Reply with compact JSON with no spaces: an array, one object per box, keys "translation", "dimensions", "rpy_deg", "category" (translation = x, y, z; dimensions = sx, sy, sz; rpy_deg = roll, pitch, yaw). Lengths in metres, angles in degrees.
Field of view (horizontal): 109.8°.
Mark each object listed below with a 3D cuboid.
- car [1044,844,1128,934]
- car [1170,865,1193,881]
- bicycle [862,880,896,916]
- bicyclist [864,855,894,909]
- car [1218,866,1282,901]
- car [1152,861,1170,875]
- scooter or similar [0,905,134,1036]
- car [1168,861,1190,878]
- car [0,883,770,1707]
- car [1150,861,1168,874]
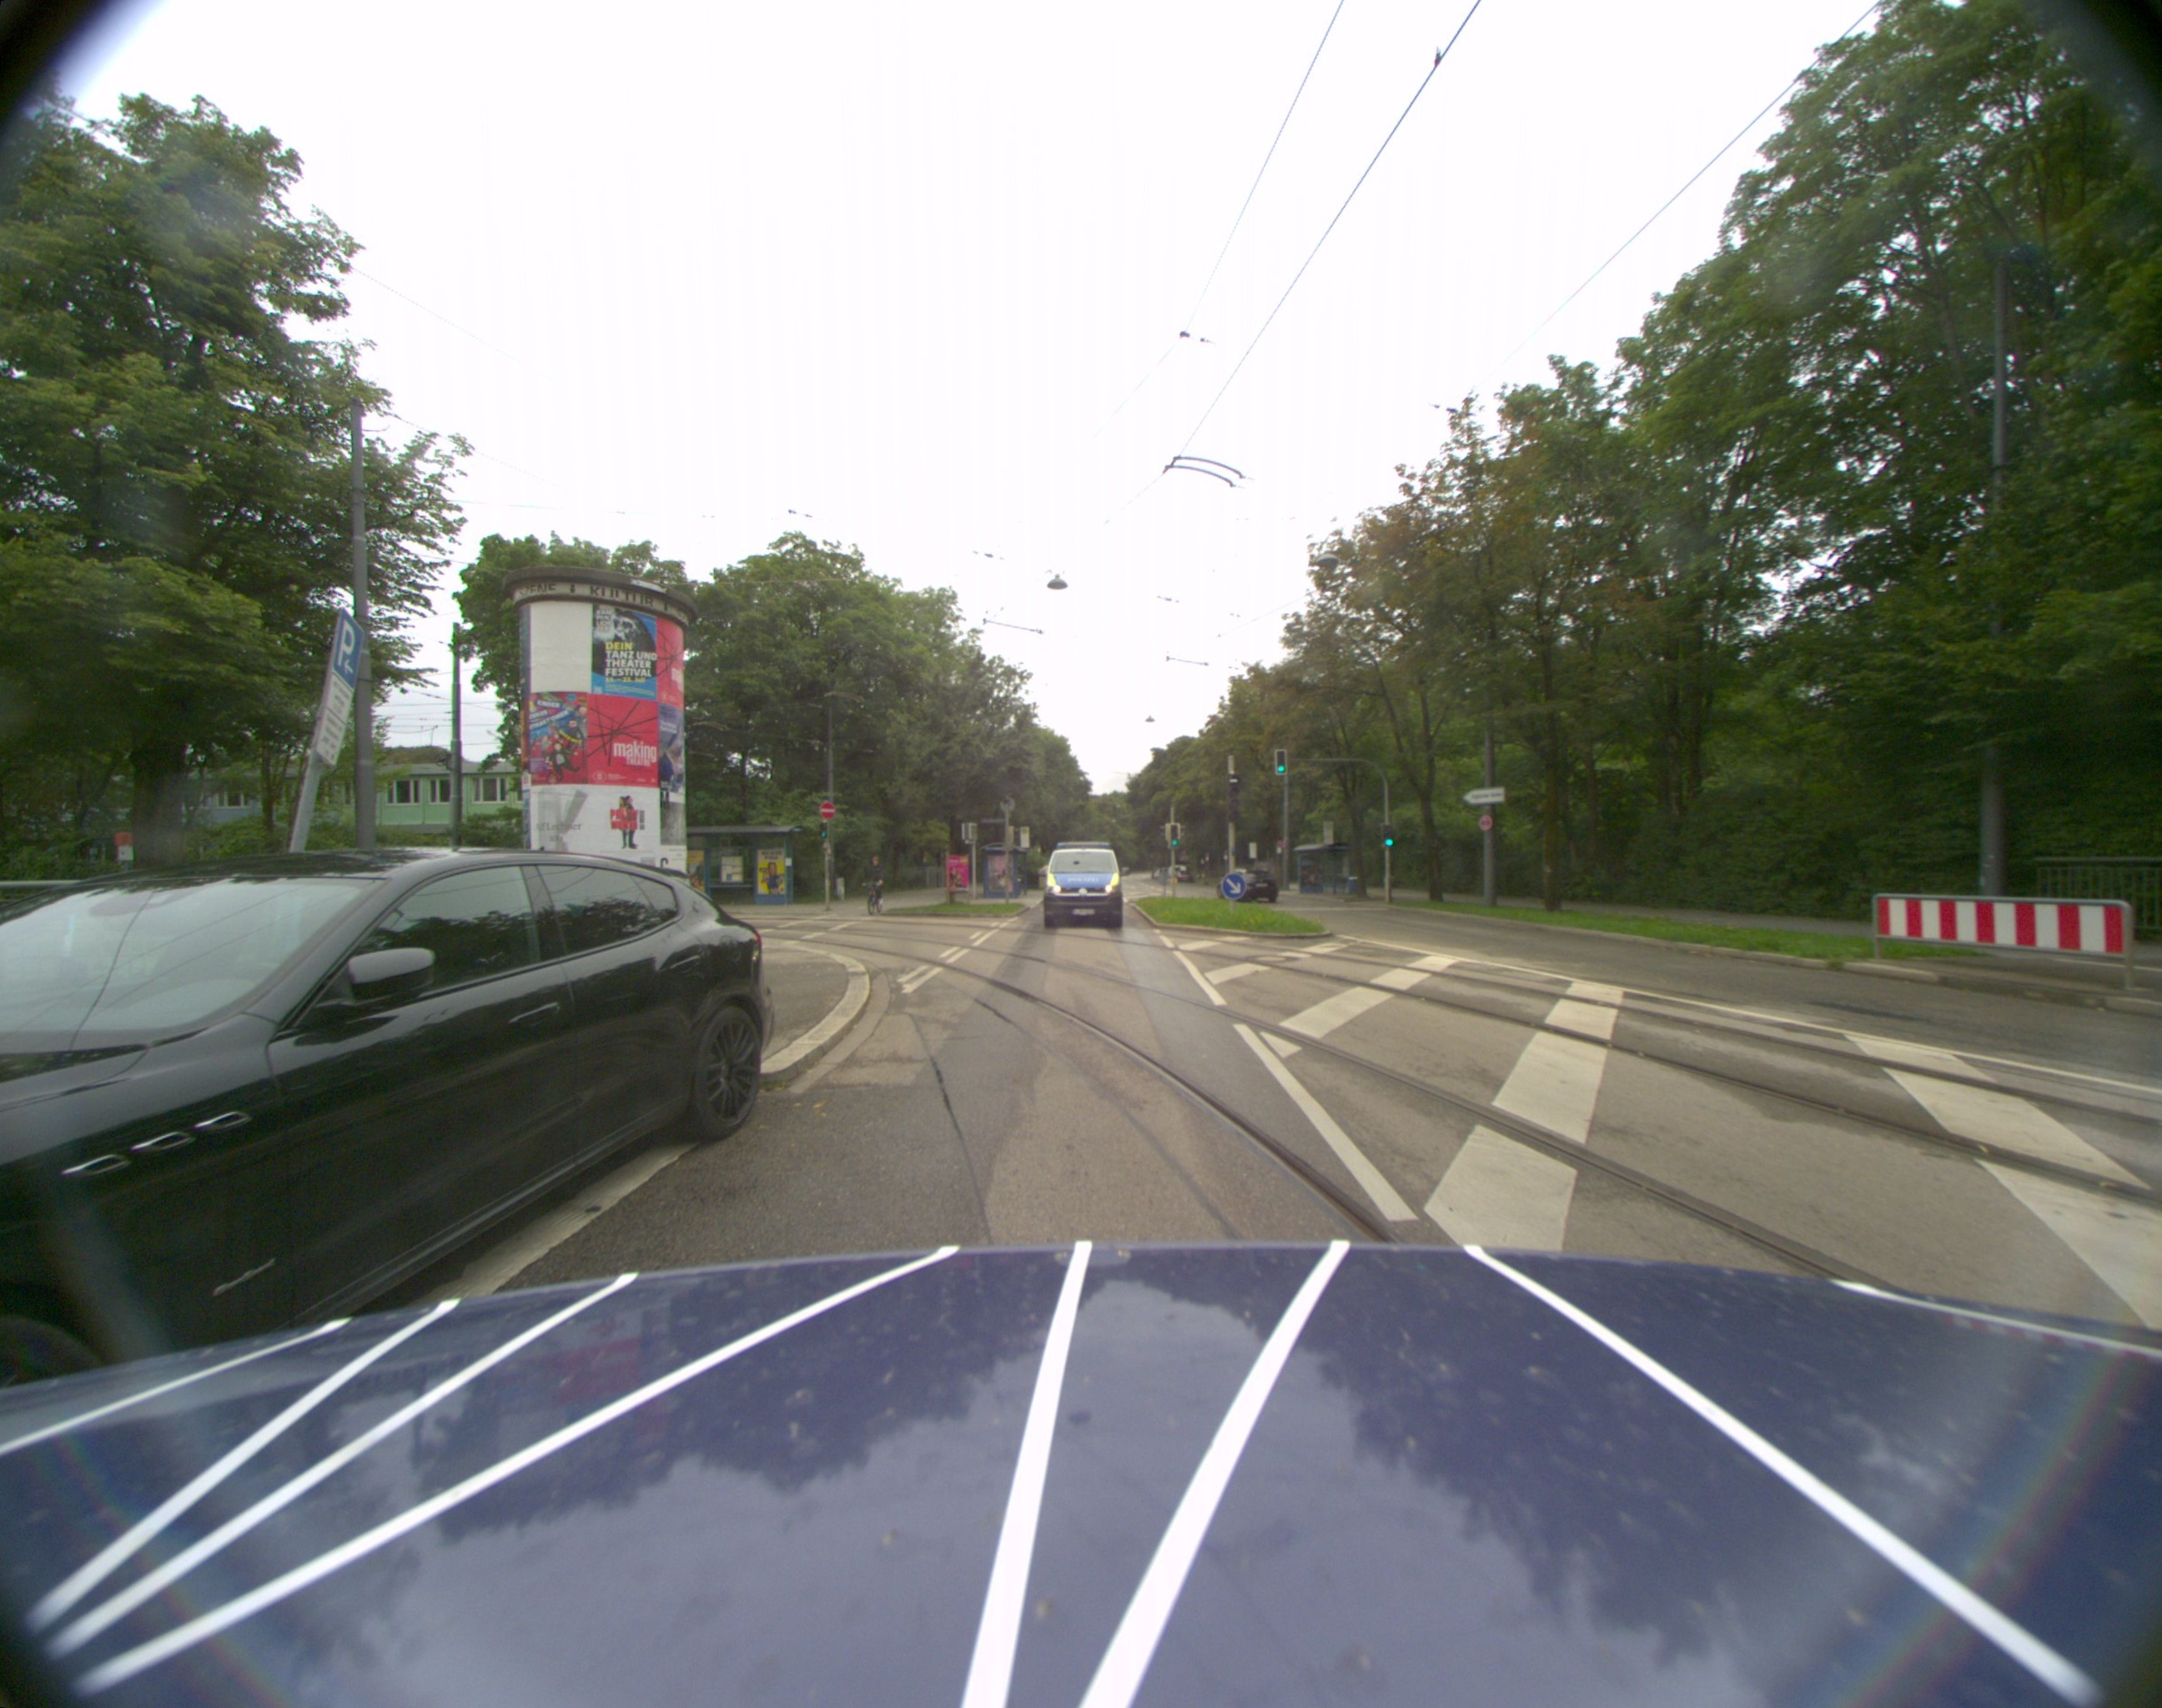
[{"translation":[0.120,0.786,20.099],"dimensions":[1.903,2.041,5.708],"rpy_deg":[0,0,0],"category":"car"},{"translation":[10.475,1.956,79.373],"dimensions":[1.888,1.531,4.000],"rpy_deg":[-2,0,0],"category":"car"},{"translation":[-6.671,1.441,25.189],"dimensions":[0.580,1.072,1.912],"rpy_deg":[-2,0,0],"category":"bicycle"},{"translation":[-6.683,0.917,25.200],"dimensions":[0.726,1.719,0.726],"rpy_deg":[-2,1,0],"category":"bicyclist"},{"translation":[7.359,1.237,33.548],"dimensions":[1.628,1.380,4.839],"rpy_deg":[1,-1,-2],"category":"car"},{"translation":[10.517,1.789,99.719],"dimensions":[1.888,1.716,4.000],"rpy_deg":[-2,0,0],"category":"car"},{"translation":[-10.508,1.161,7.838],"dimensions":[0.225,1.205,1.020],"rpy_deg":[-3,0,-7],"category":"scooter or similar"},{"translation":[10.951,1.739,85.041],"dimensions":[1.888,1.716,4.000],"rpy_deg":[-2,0,0],"category":"car"},{"translation":[-3.050,1.002,2.506],"dimensions":[1.905,1.600,4.666],"rpy_deg":[-2,-1,2],"category":"car"},{"translation":[10.744,1.850,104.861],"dimensions":[1.888,1.716,4.000],"rpy_deg":[-2,0,0],"category":"car"}]
